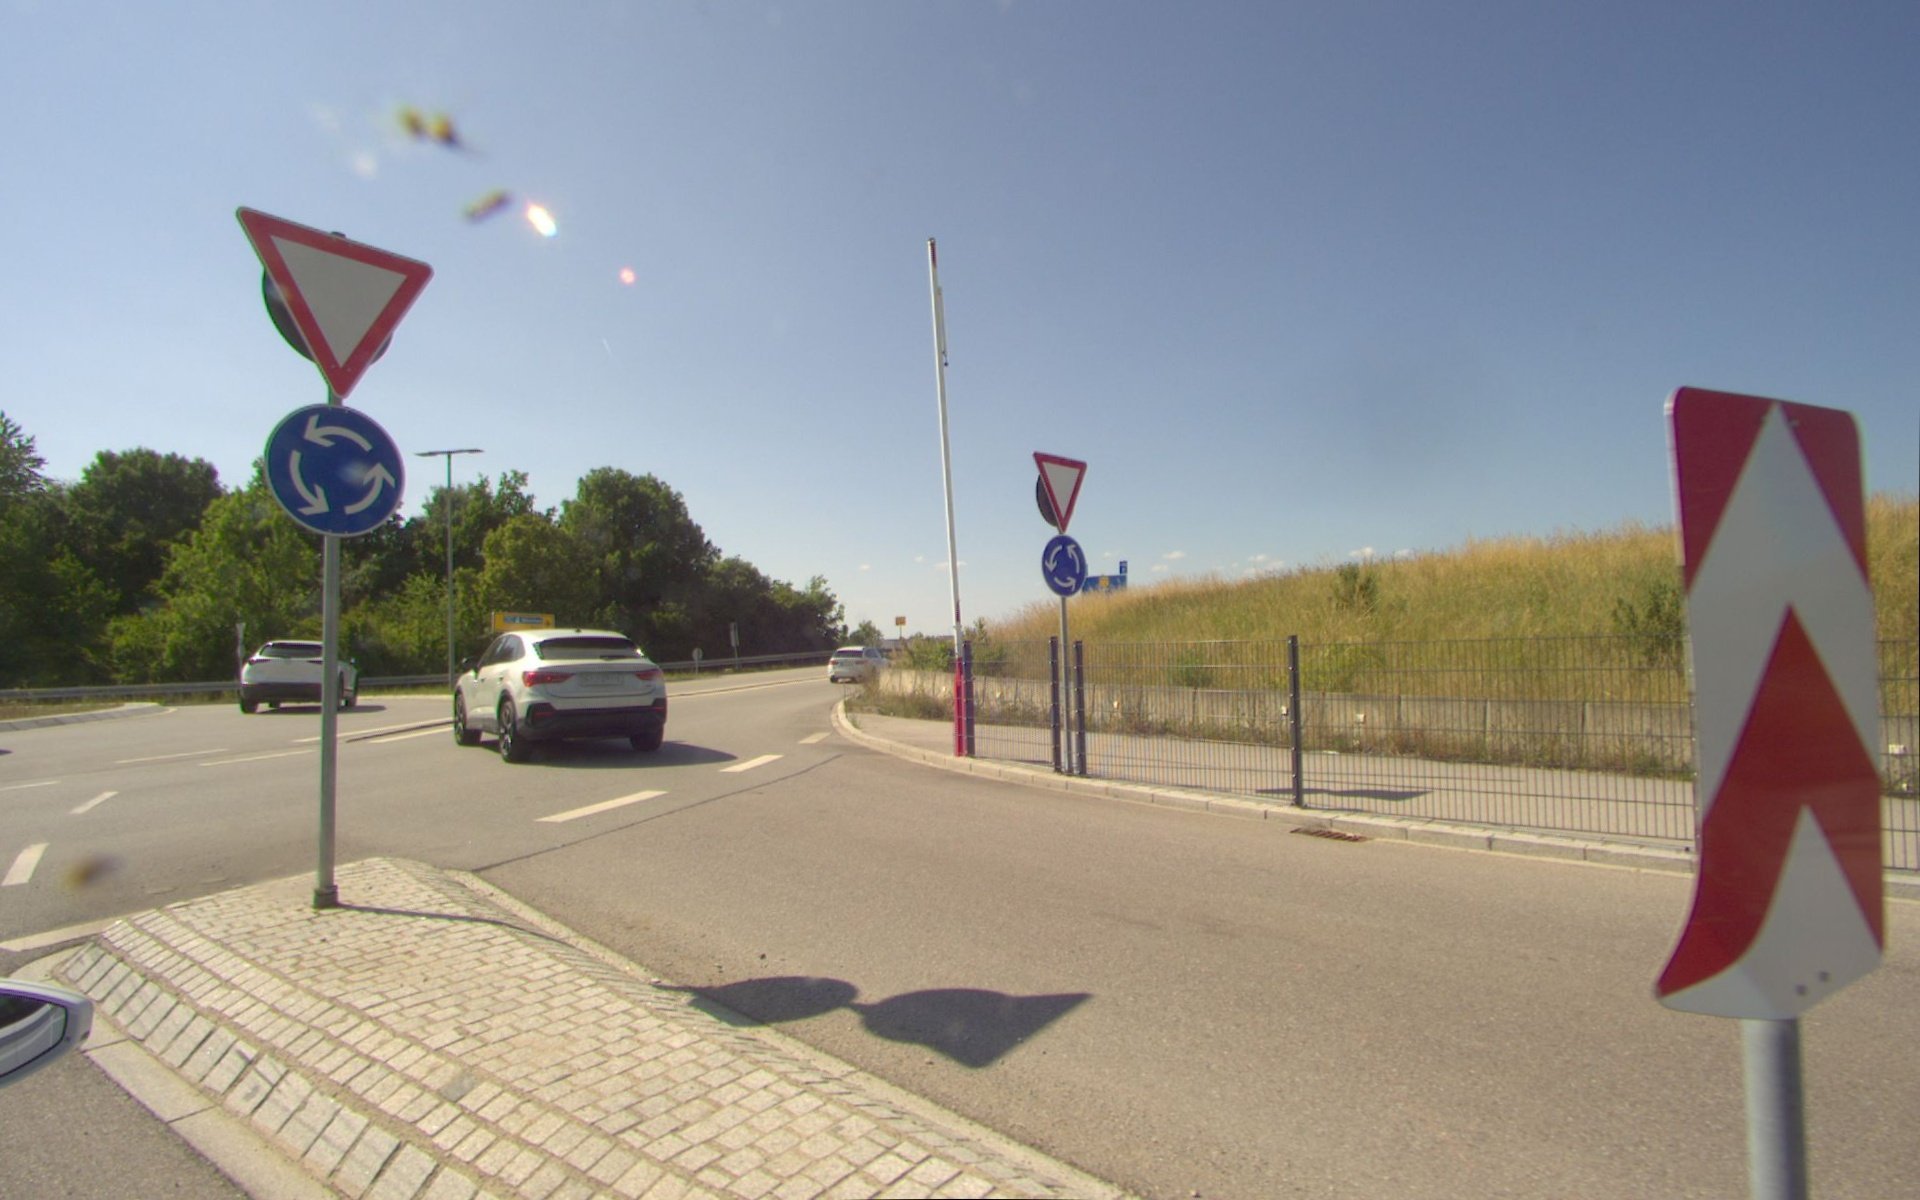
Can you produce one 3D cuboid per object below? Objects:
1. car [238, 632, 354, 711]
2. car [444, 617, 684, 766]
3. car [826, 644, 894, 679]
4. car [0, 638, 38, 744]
[{"bbox_3d":[-14.866,1.566,22.611,1.765,1.549,4.270,-1,-2,-28],"label":"car"},{"bbox_3d":[-5.342,1.081,13.162,1.825,1.616,4.293,1,-2,-38],"label":"car"},{"bbox_3d":[-4.110,2.522,41.681,1.543,1.368,4.341,-1,-3,12],"label":"car"},{"bbox_3d":[-14.389,1.159,12.132,1.762,1.422,4.406,-1,-3,24],"label":"car"}]
